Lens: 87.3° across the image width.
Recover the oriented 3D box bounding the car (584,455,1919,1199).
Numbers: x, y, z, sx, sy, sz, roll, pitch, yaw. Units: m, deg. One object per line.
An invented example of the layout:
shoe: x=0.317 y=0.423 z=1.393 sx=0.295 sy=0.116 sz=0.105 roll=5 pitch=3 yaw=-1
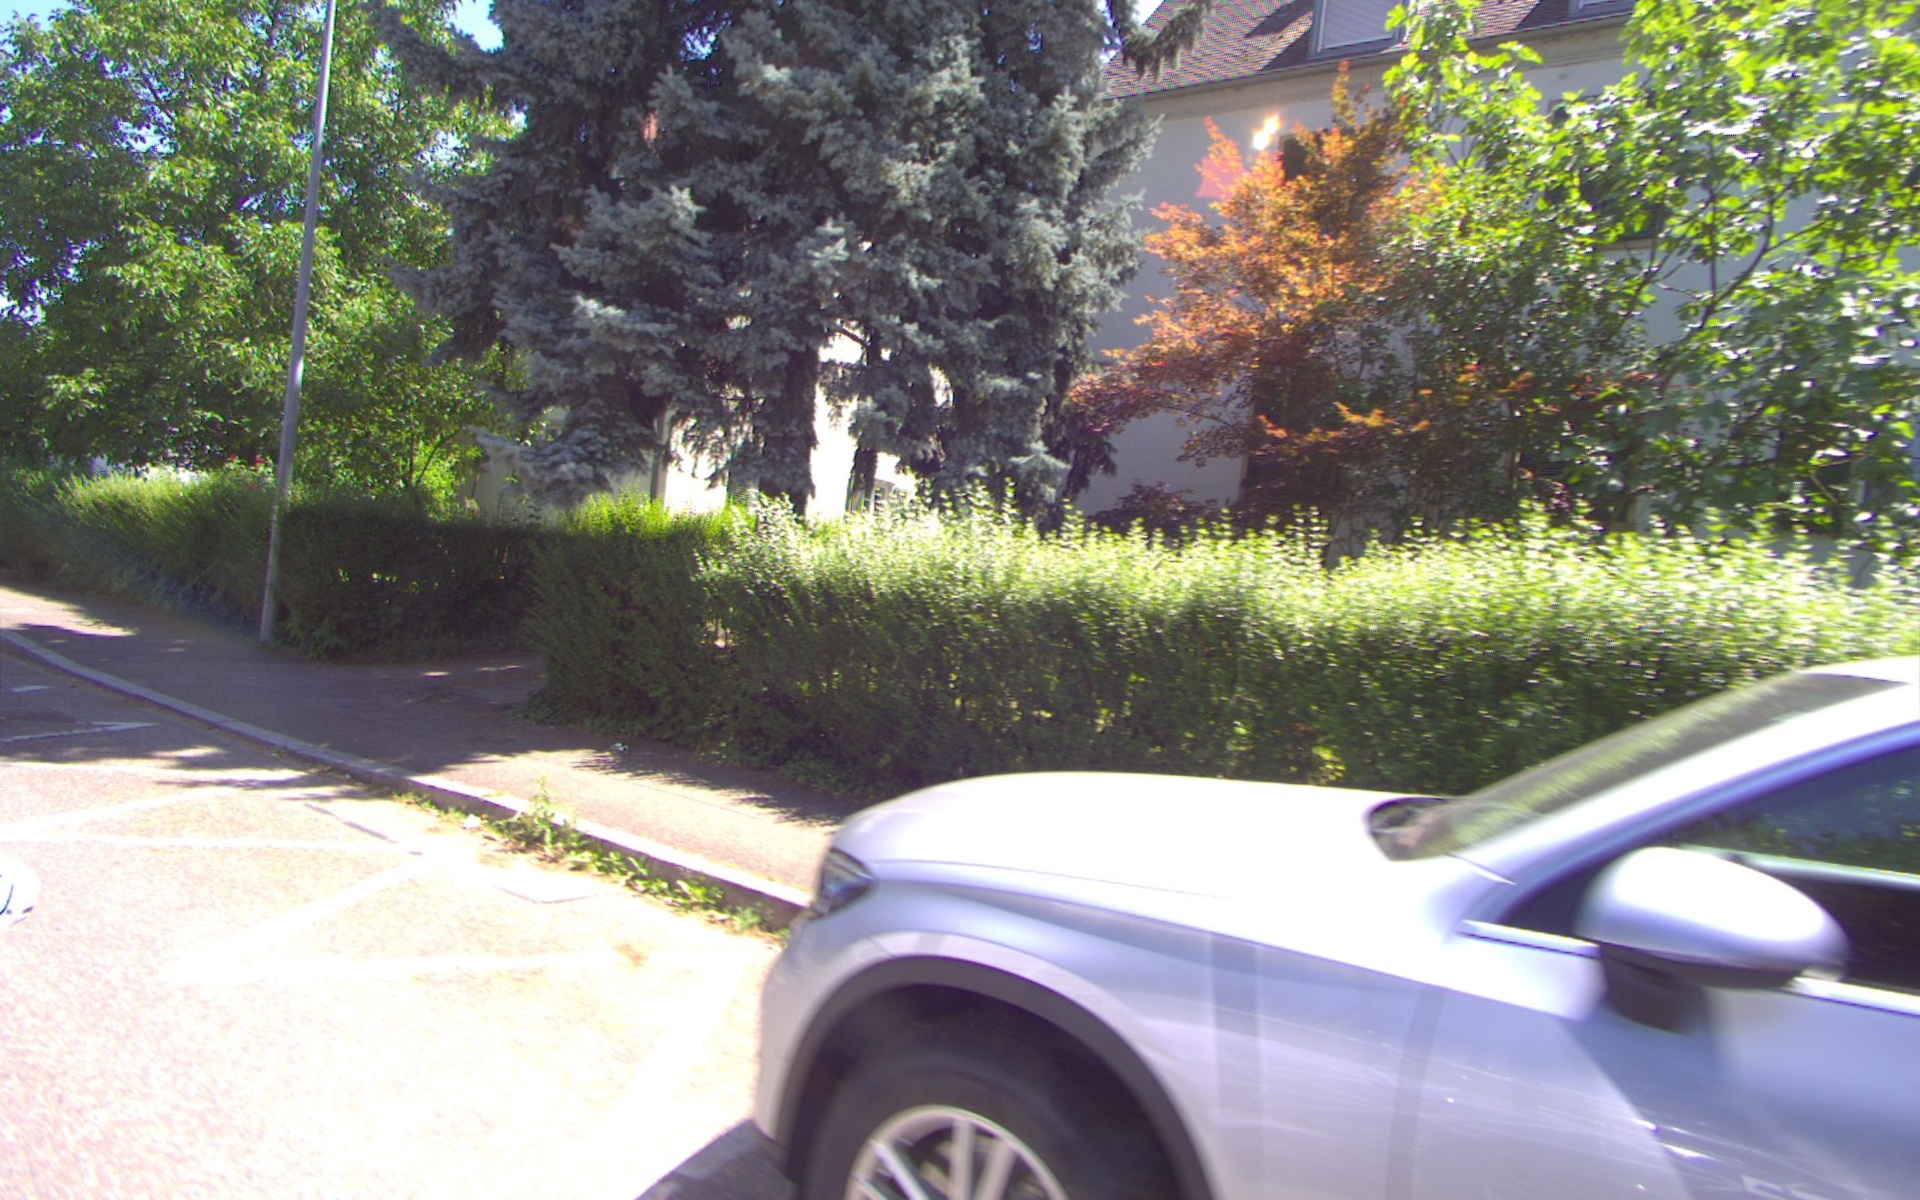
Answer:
car: x=1.674 y=0.834 z=1.736 sx=4.527 sy=1.651 sz=1.775 roll=7 pitch=-2 yaw=31
